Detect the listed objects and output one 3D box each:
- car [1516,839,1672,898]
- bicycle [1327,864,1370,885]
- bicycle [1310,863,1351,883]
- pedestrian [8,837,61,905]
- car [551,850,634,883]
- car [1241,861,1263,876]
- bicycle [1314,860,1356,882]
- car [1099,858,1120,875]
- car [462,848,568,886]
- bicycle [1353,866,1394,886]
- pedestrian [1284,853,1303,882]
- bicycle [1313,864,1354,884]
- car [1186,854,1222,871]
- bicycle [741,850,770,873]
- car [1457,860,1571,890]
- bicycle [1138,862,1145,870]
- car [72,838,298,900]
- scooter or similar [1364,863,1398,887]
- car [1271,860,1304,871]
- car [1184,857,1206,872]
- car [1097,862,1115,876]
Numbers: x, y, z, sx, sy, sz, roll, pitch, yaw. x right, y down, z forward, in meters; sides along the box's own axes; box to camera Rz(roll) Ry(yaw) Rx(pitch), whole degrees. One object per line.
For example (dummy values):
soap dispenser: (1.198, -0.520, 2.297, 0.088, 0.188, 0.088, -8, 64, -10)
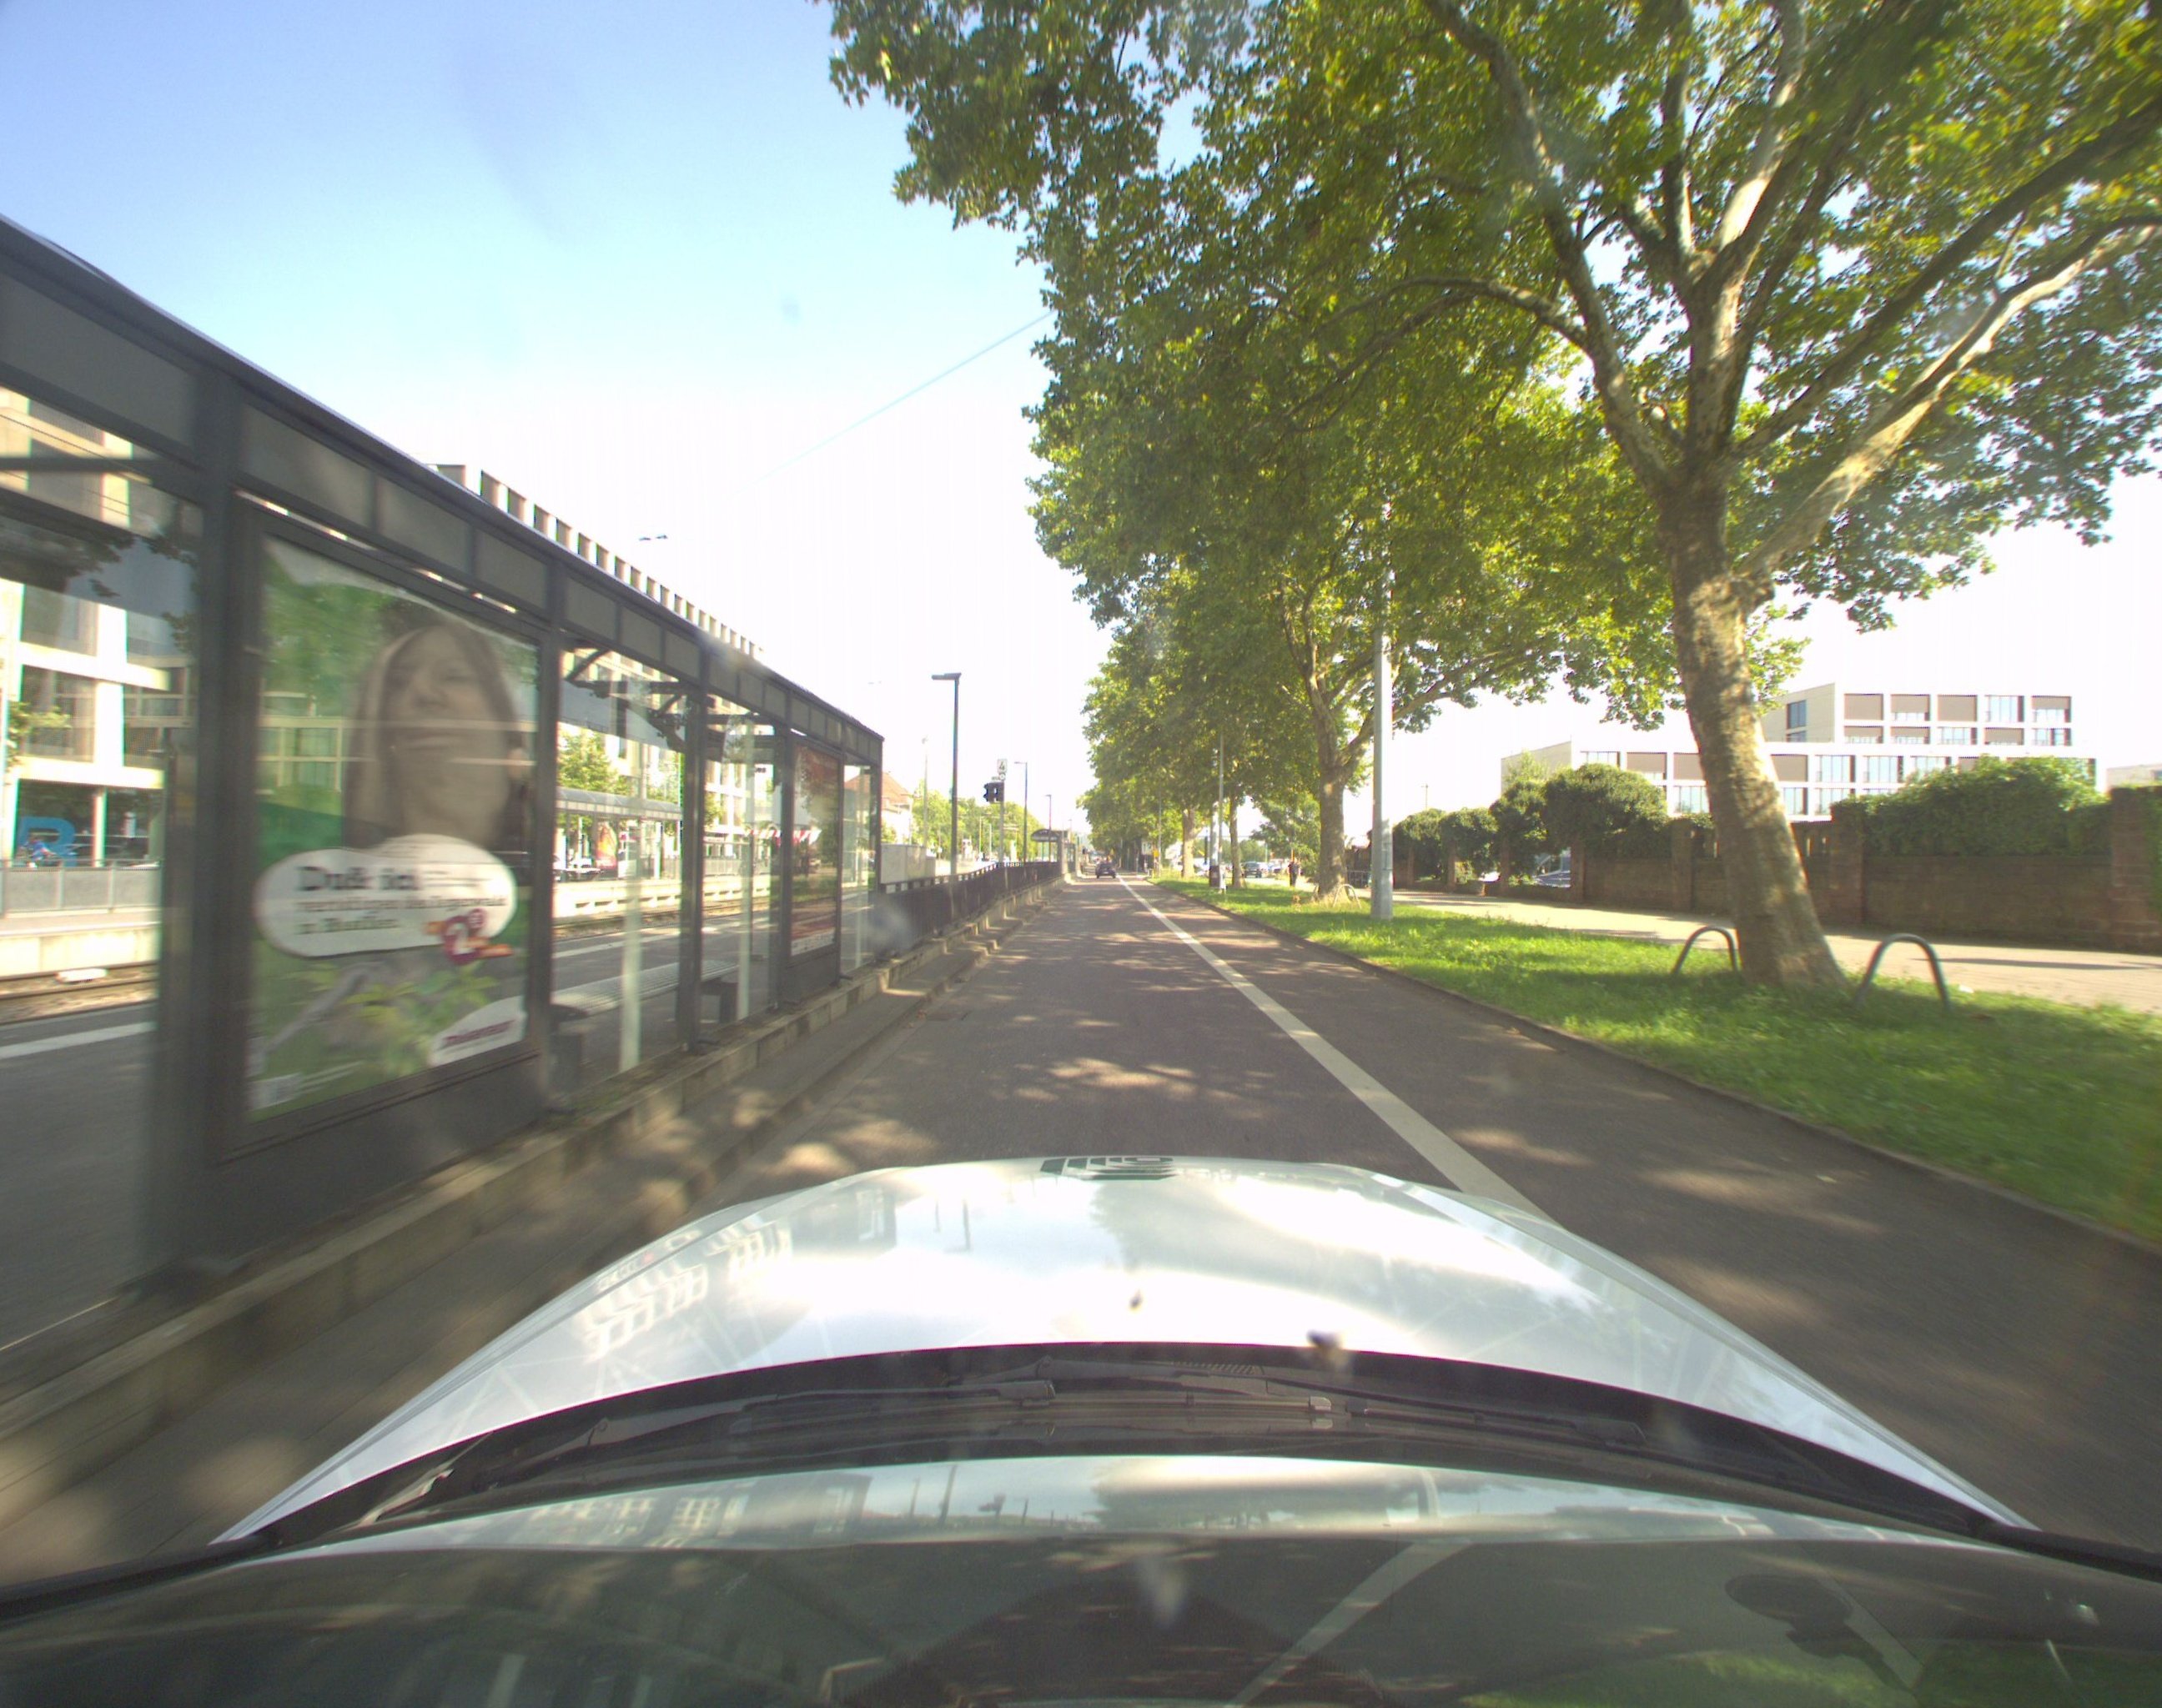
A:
car: (22.106, 0.616, 35.267, 5.353, 2.434, 2.252, 1, -1, 2)
bicycle: (14.743, 1.126, 44.939, 2.167, 1.076, 0.743, 1, -1, -1)
bicycle: (14.708, 1.117, 47.967, 2.163, 1.076, 0.744, -2, -1, 4)
pedestrian: (-32.121, 0.523, 25.008, 0.561, 2.014, 0.822, -2, -2, 1)
car: (-24.821, 0.614, 41.534, 1.758, 1.603, 4.131, 0, -1, 0)
car: (17.881, 1.484, 85.258, 1.602, 1.575, 3.797, 0, 0, 1)
bicycle: (15.431, 1.049, 49.459, 2.236, 1.277, 0.998, -1, -2, 0)
car: (2.631, 1.167, 76.464, 1.901, 1.537, 4.000, -1, 0, 0)
car: (-24.786, 0.551, 35.871, 1.758, 1.574, 4.131, 0, -1, 0)
bicycle: (14.953, 1.137, 41.666, 1.861, 1.006, 0.735, 1, -1, -1)
pedestrian: (10.963, 0.696, 41.965, 0.781, 1.515, 0.787, 0, -1, 1)
bicycle: (14.598, 1.149, 47.151, 2.163, 1.076, 0.744, -2, -1, 4)
car: (14.696, 1.053, 97.453, 4.085, 1.918, 1.849, -1, -1, 4)
bicycle: (-16.072, 0.378, 40.241, 0.467, 1.147, 1.490, 1, -1, 16)
car: (22.248, 1.087, 41.975, 4.892, 1.479, 2.180, 0, 0, -9)
bicycle: (8.417, 1.682, 113.007, 0.609, 1.022, 2.400, 0, 0, -3)
car: (-24.801, 0.407, 22.809, 1.758, 1.574, 4.131, 0, -1, 0)
scooter or similar: (14.961, 1.040, 40.630, 1.498, 1.191, 0.539, -1, -1, 4)
car: (30.097, 1.627, 118.835, 4.331, 1.464, 1.946, 1, -1, -1)
car: (11.769, 1.093, 84.128, 1.721, 1.449, 4.552, 0, 0, 1)
car: (2.872, 1.724, 95.923, 1.967, 1.537, 4.000, -3, -1, 0)
